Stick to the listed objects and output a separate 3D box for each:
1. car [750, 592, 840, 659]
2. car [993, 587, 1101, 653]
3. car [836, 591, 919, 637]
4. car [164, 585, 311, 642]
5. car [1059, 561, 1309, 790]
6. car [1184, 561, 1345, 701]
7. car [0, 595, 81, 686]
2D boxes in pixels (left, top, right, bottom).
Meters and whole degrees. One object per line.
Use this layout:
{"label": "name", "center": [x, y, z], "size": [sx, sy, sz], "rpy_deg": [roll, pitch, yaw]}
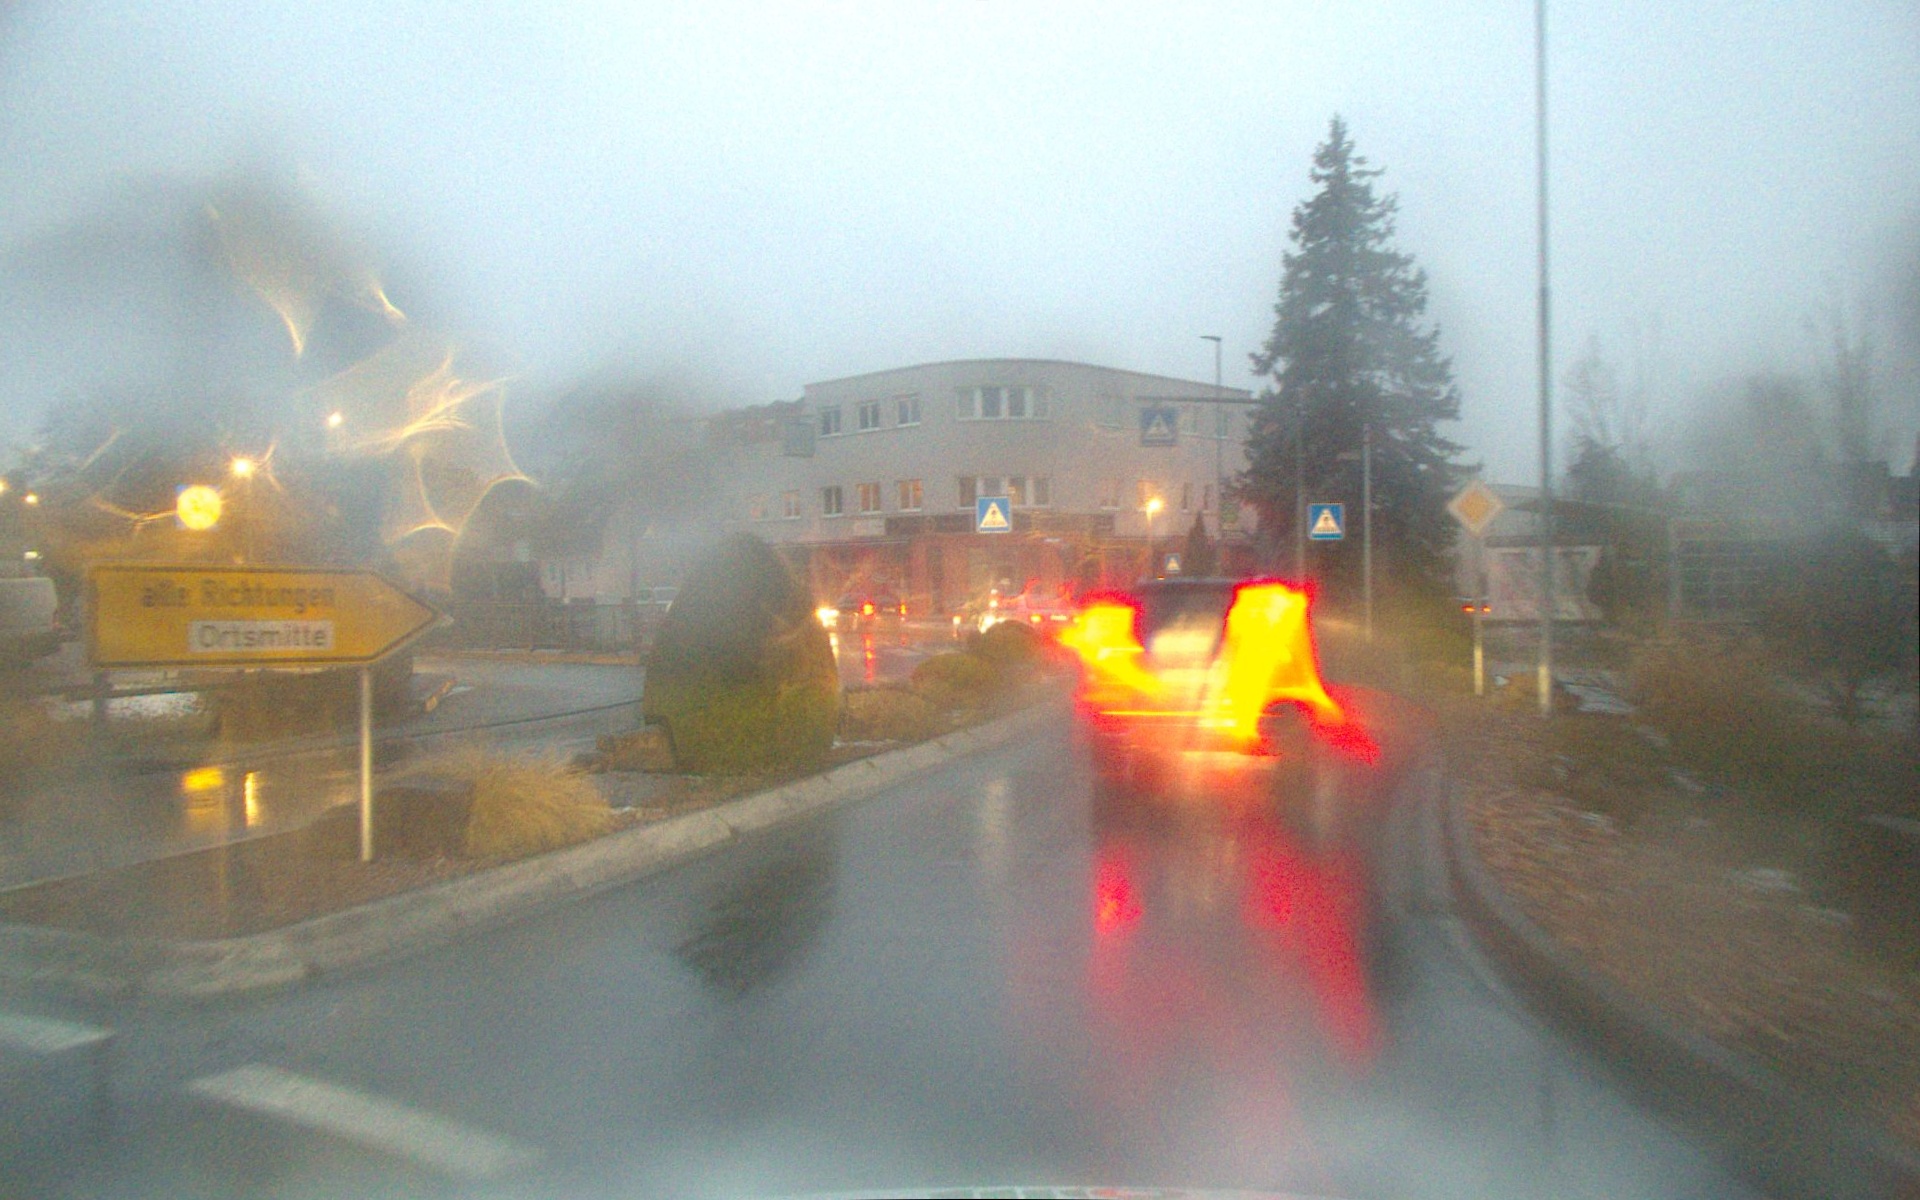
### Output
{"label": "car", "center": [-5.722, 0.837, 56.926], "size": [2.130, 2.096, 4.548], "rpy_deg": [-1, 2, -18]}
{"label": "car", "center": [2.482, 0.534, 48.553], "size": [2.027, 1.747, 4.557], "rpy_deg": [-1, 2, -12]}
{"label": "car", "center": [-3.035, 0.531, 59.914], "size": [1.853, 1.575, 4.548], "rpy_deg": [-1, -1, -18]}
{"label": "car", "center": [-24.698, 0.429, 56.633], "size": [4.321, 1.778, 1.680], "rpy_deg": [-2, 2, -43]}
{"label": "car", "center": [1.862, 0.545, 14.791], "size": [1.903, 1.748, 4.002], "rpy_deg": [-1, 1, 4]}
{"label": "car", "center": [4.616, 0.393, 25.582], "size": [2.118, 1.718, 4.576], "rpy_deg": [-5, 2, 8]}
{"label": "car", "center": [-24.434, 0.972, 39.863], "size": [1.997, 2.171, 5.390], "rpy_deg": [1, 0, 42]}
